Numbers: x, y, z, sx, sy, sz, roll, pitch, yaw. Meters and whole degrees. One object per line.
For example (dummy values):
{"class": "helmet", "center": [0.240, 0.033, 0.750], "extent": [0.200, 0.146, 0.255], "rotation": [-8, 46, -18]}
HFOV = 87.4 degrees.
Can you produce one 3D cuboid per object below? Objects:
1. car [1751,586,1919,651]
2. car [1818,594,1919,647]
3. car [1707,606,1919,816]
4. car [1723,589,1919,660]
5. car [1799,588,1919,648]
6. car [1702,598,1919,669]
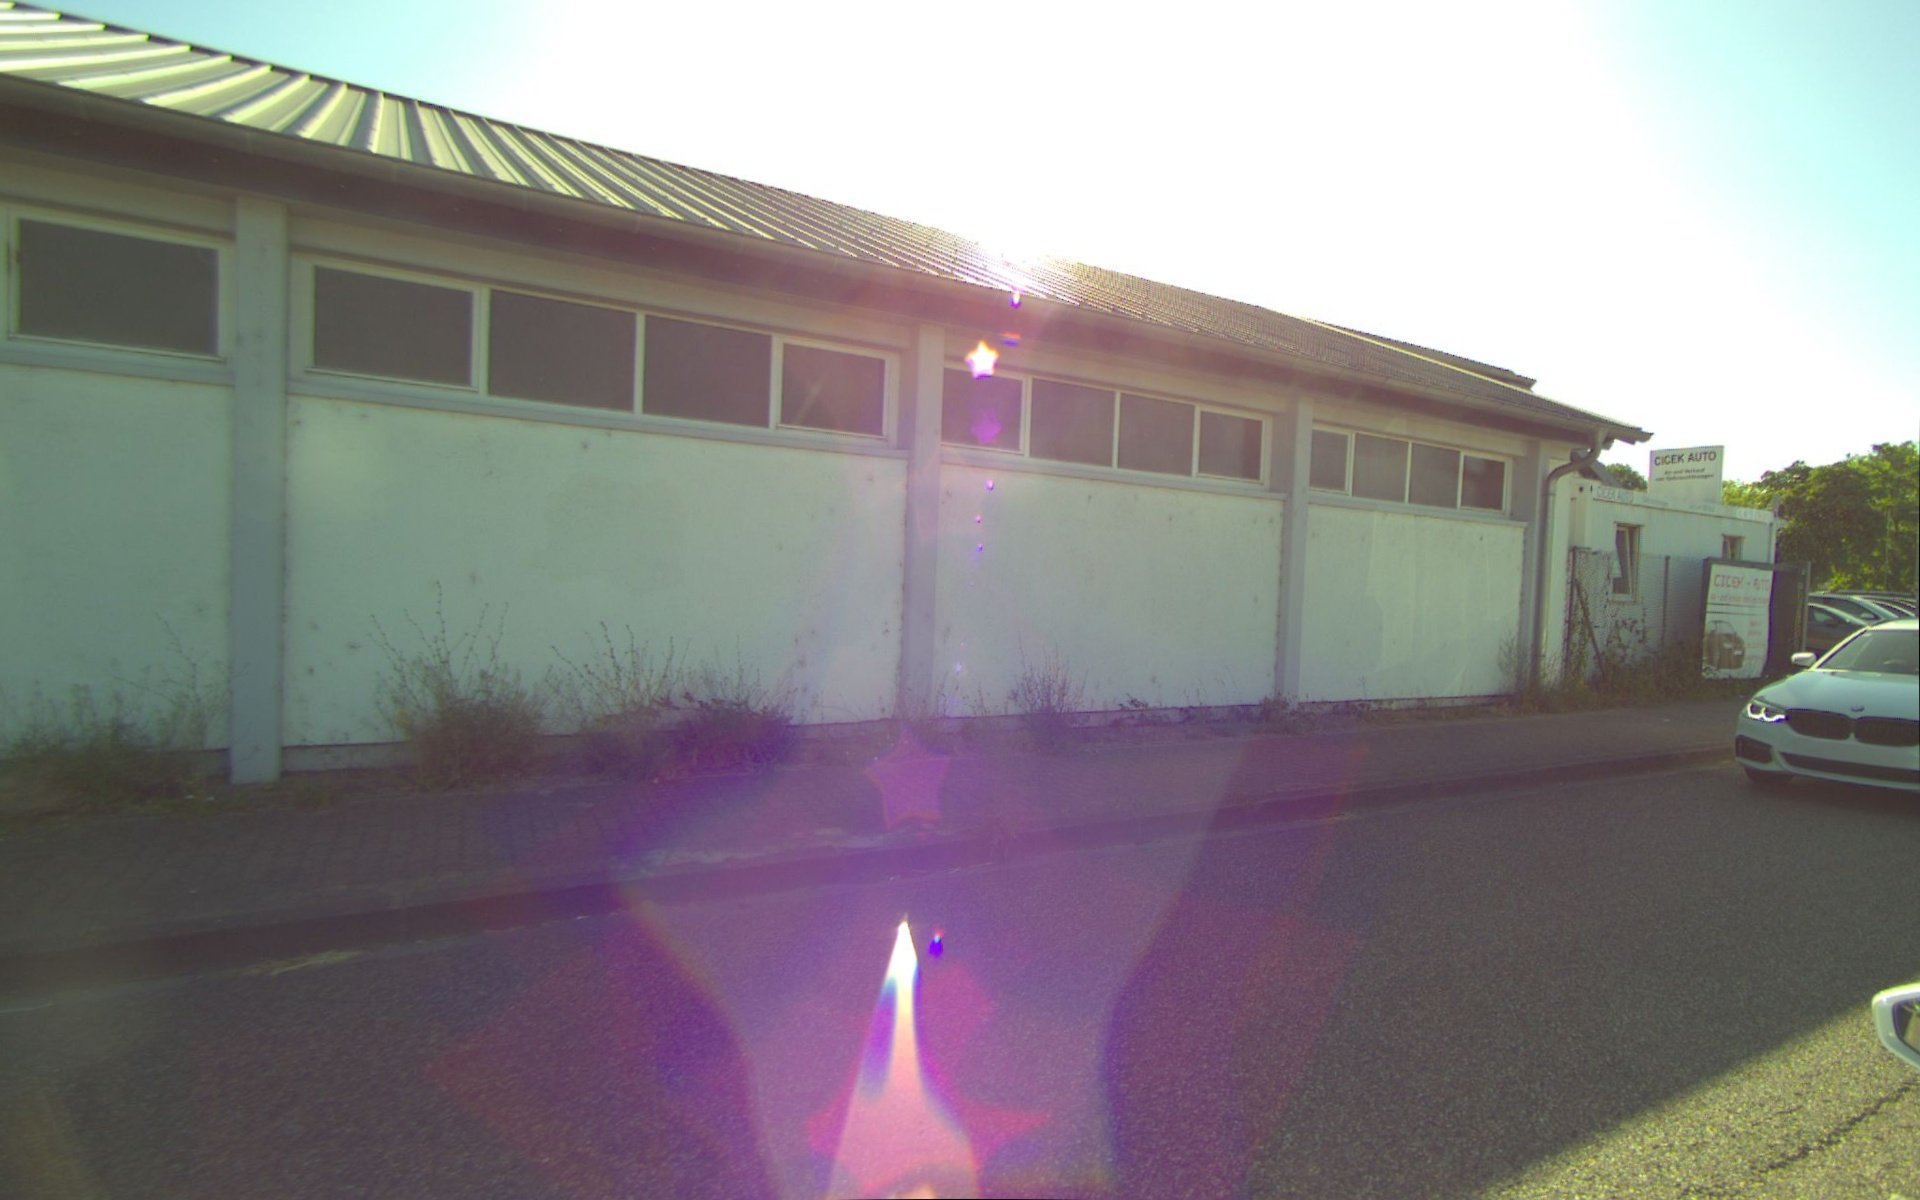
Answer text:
{"class": "car", "center": [25.834, 0.504, 29.054], "extent": [1.827, 1.671, 4.349], "rotation": [1, 2, -42]}
{"class": "car", "center": [31.873, 0.710, 33.672], "extent": [4.323, 1.671, 1.837], "rotation": [3, 2, 28]}
{"class": "car", "center": [8.725, 0.852, 8.877], "extent": [4.634, 1.498, 1.799], "rotation": [1, 0, -31]}
{"class": "car", "center": [23.923, 0.633, 27.622], "extent": [1.825, 1.671, 4.352], "rotation": [1, 2, -40]}
{"class": "car", "center": [28.399, 0.566, 30.474], "extent": [1.828, 1.671, 4.345], "rotation": [1, 2, -45]}
{"class": "car", "center": [22.189, 0.808, 26.091], "extent": [1.825, 1.527, 4.352], "rotation": [1, 2, -40]}
